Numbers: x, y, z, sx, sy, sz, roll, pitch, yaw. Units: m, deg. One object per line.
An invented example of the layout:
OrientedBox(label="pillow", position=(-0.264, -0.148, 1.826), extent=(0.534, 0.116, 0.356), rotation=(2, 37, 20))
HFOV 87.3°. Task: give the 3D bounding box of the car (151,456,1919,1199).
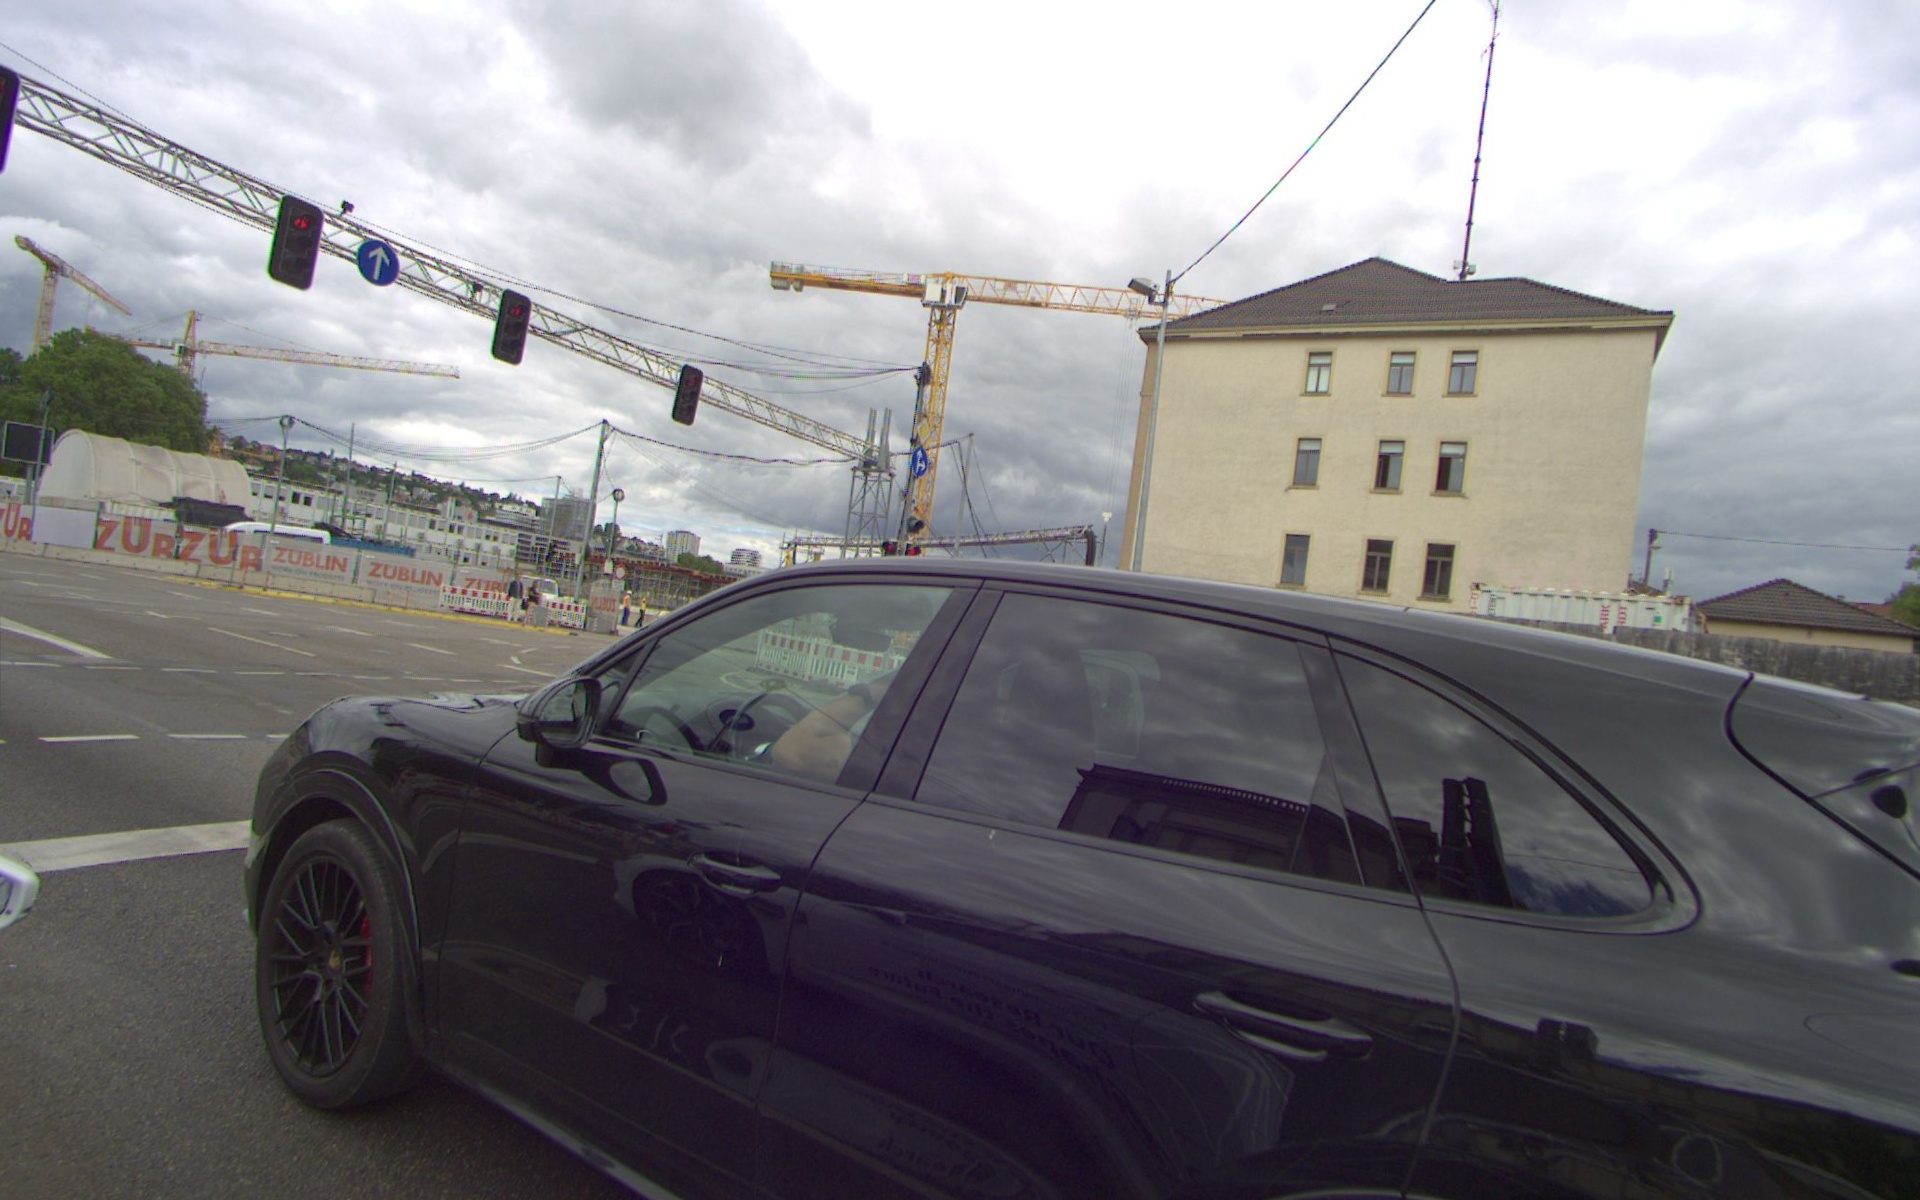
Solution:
OrientedBox(label="car", position=(-0.005, 0.690, 2.715), extent=(4.505, 1.687, 1.997), rotation=(6, -2, 34))

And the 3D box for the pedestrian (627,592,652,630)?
OrientedBox(label="pedestrian", position=(-17.372, 0.614, 54.597), extent=(0.850, 1.938, 0.680), rotation=(7, -1, 26))

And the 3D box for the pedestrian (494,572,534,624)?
OrientedBox(label="pedestrian", position=(-17.418, -0.062, 39.260), extent=(1.040, 1.869, 0.781), rotation=(8, -1, -42))

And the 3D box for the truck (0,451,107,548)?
OrientedBox(label="truck", position=(-57.723, -6.344, 60.219), extent=(3.054, 5.017, 9.759), rotation=(7, -2, 14))

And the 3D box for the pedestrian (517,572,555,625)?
OrientedBox(label="pedestrian", position=(-17.541, -0.049, 41.647), extent=(1.017, 2.037, 1.045), rotation=(7, -1, -10))

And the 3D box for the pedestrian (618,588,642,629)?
OrientedBox(label="pedestrian", position=(-17.647, 0.447, 53.824), extent=(0.855, 2.037, 0.677), rotation=(6, -1, 44))

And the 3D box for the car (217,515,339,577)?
OrientedBox(label="car", position=(-29.531, -2.326, 43.641), extent=(3.976, 2.037, 1.976), rotation=(9, -2, -43))

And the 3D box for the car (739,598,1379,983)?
OrientedBox(label="car", position=(0.576, 0.999, 6.552), extent=(3.587, 1.527, 1.825), rotation=(6, -2, 33))
